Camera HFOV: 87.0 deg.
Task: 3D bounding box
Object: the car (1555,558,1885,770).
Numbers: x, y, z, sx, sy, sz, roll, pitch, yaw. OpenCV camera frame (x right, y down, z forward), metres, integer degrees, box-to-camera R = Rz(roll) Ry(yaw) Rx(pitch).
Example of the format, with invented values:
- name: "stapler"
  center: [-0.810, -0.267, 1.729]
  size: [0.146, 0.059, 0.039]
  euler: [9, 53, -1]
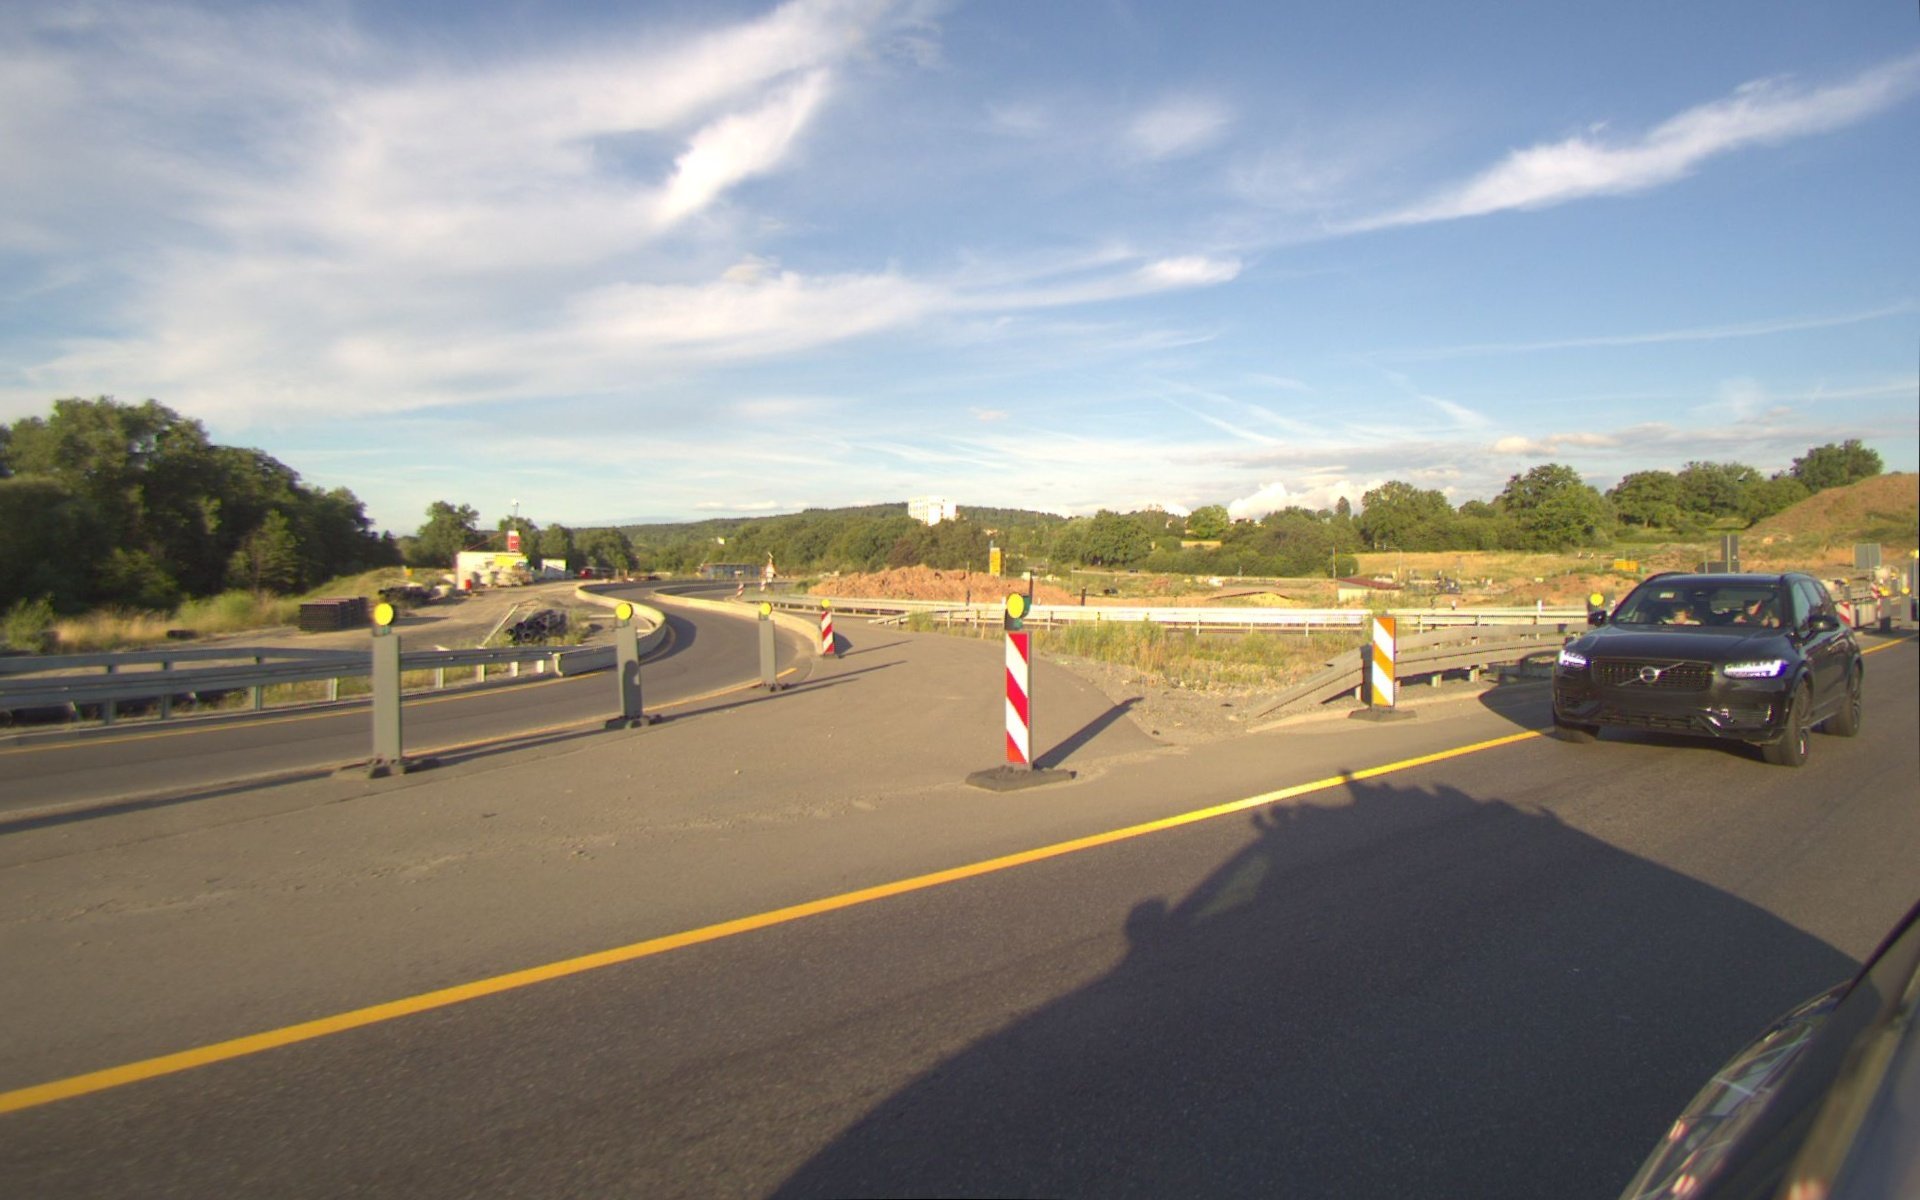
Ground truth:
- name: "car"
  center: [8.111, 0.496, 10.605]
  size: [4.804, 1.735, 1.900]
  euler: [-1, 0, -42]
